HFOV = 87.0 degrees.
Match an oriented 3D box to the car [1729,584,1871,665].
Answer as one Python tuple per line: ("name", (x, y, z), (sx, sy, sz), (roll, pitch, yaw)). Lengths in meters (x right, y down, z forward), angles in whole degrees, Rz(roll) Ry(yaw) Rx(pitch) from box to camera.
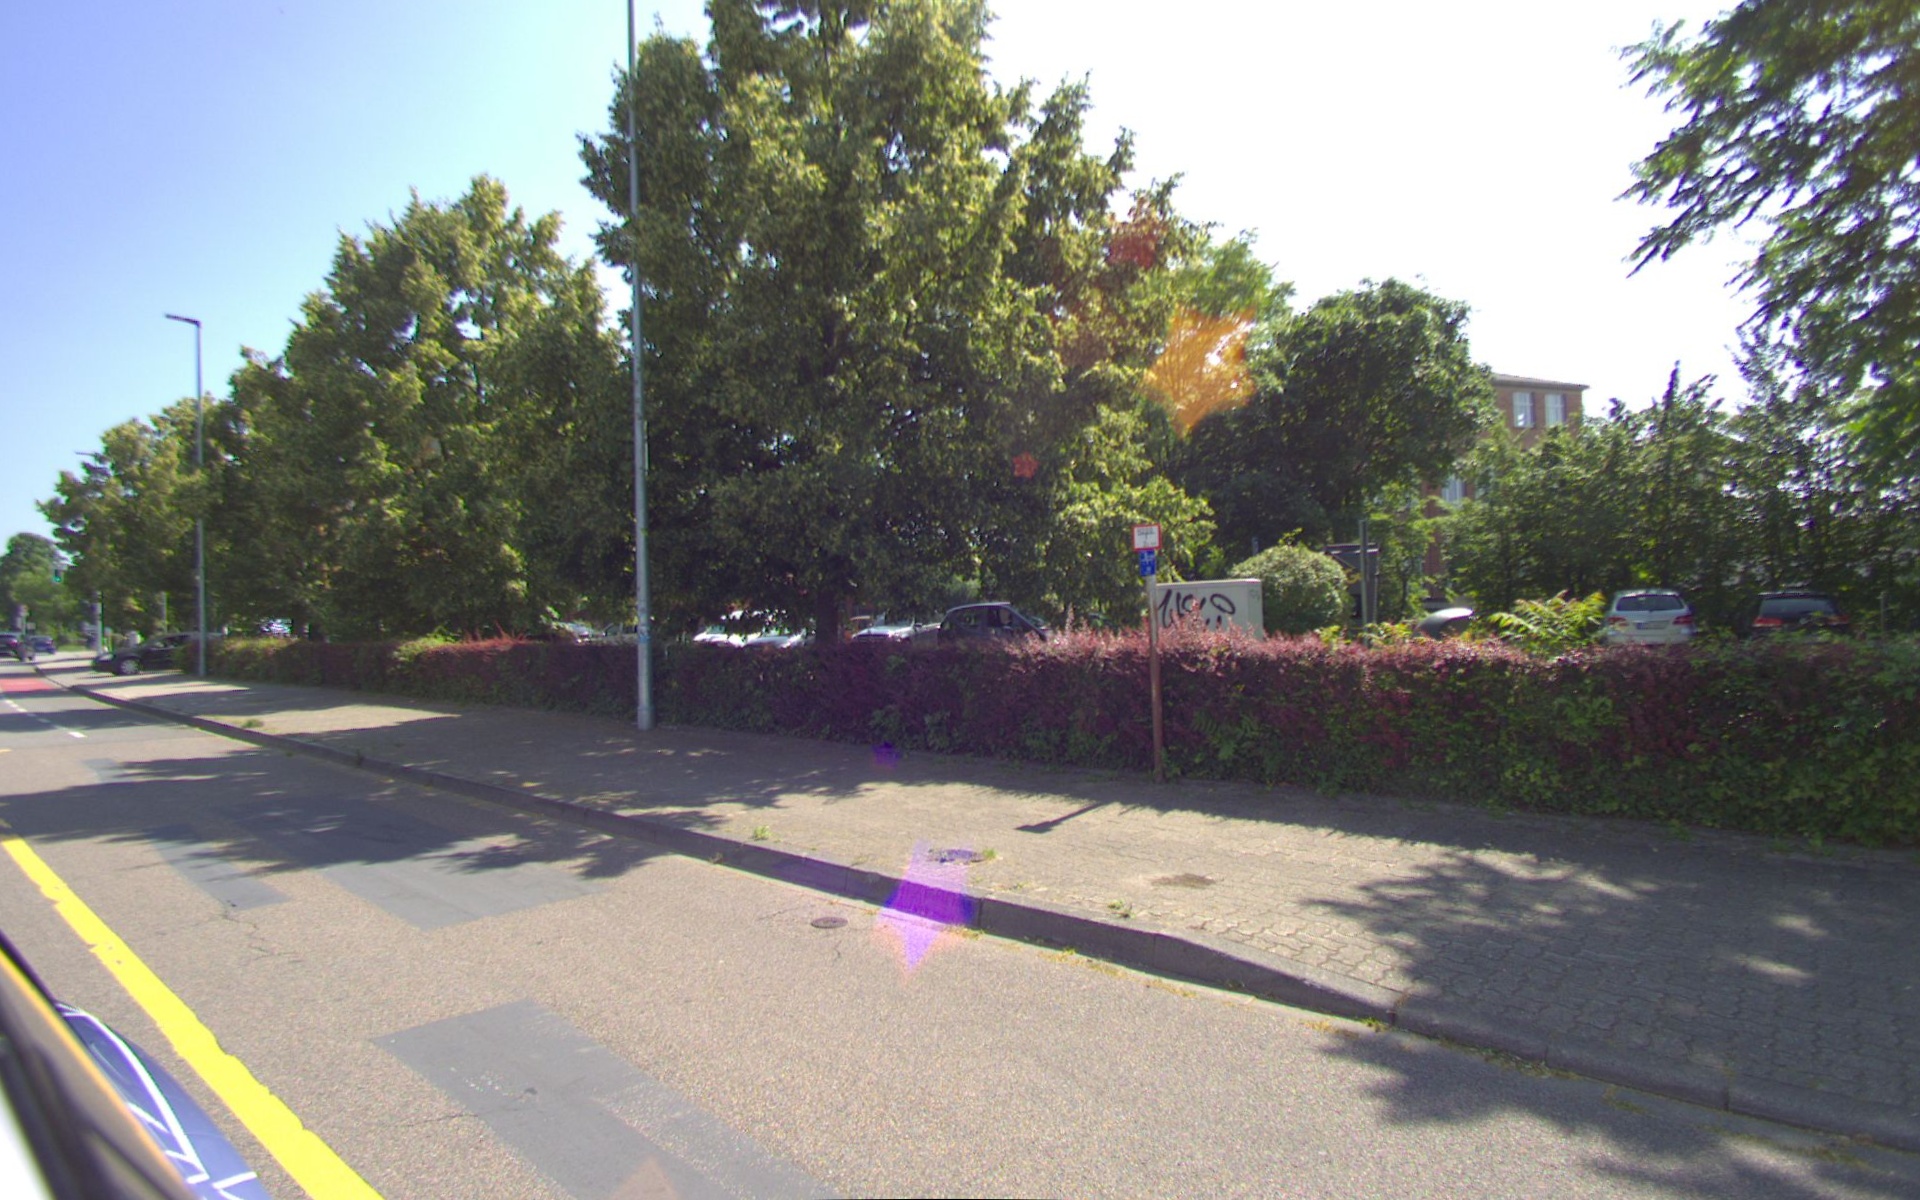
("car", (17.823, 0.480, 21.654), (1.769, 1.481, 3.956), (-4, 0, 32))

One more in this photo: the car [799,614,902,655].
("car", (-5.002, 1.562, 46.142), (4.347, 1.698, 1.845), (-2, 1, 28))

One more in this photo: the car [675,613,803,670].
("car", (-7.140, 1.324, 33.116), (1.852, 1.698, 4.275), (-2, -1, 25))

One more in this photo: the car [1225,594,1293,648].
("car", (11.191, 0.753, 37.712), (1.764, 1.747, 3.967), (-5, -1, 24))

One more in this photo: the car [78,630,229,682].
("car", (-28.158, 1.907, 35.412), (3.941, 1.475, 1.882), (-4, 1, -44))

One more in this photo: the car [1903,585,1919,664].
("car", (18.104, 0.453, 17.510), (1.698, 1.464, 3.959), (-3, -1, 30))

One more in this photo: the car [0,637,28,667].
("car", (-54.374, 2.939, 57.472), (1.969, 1.657, 4.534), (1, -2, -41))

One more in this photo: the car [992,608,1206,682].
("car", (2.980, 0.984, 22.207), (4.363, 1.464, 1.837), (-2, -3, 40))

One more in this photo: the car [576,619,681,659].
("car", (-14.115, 1.659, 43.093), (4.120, 1.564, 1.904), (-2, -1, 26))

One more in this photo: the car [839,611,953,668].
("car", (-1.977, 1.237, 32.698), (1.851, 1.698, 4.331), (-2, -1, 24))

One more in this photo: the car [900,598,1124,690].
("car", (0.985, 0.896, 20.683), (4.363, 1.699, 1.837), (-2, -3, 40))

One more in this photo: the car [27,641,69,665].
("car", (-65.821, 3.811, 72.988), (4.529, 1.657, 1.971), (-2, -2, 44))

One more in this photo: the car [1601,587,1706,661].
("car", (16.635, 0.526, 24.443), (1.768, 1.584, 3.958), (-3, -1, 31))
